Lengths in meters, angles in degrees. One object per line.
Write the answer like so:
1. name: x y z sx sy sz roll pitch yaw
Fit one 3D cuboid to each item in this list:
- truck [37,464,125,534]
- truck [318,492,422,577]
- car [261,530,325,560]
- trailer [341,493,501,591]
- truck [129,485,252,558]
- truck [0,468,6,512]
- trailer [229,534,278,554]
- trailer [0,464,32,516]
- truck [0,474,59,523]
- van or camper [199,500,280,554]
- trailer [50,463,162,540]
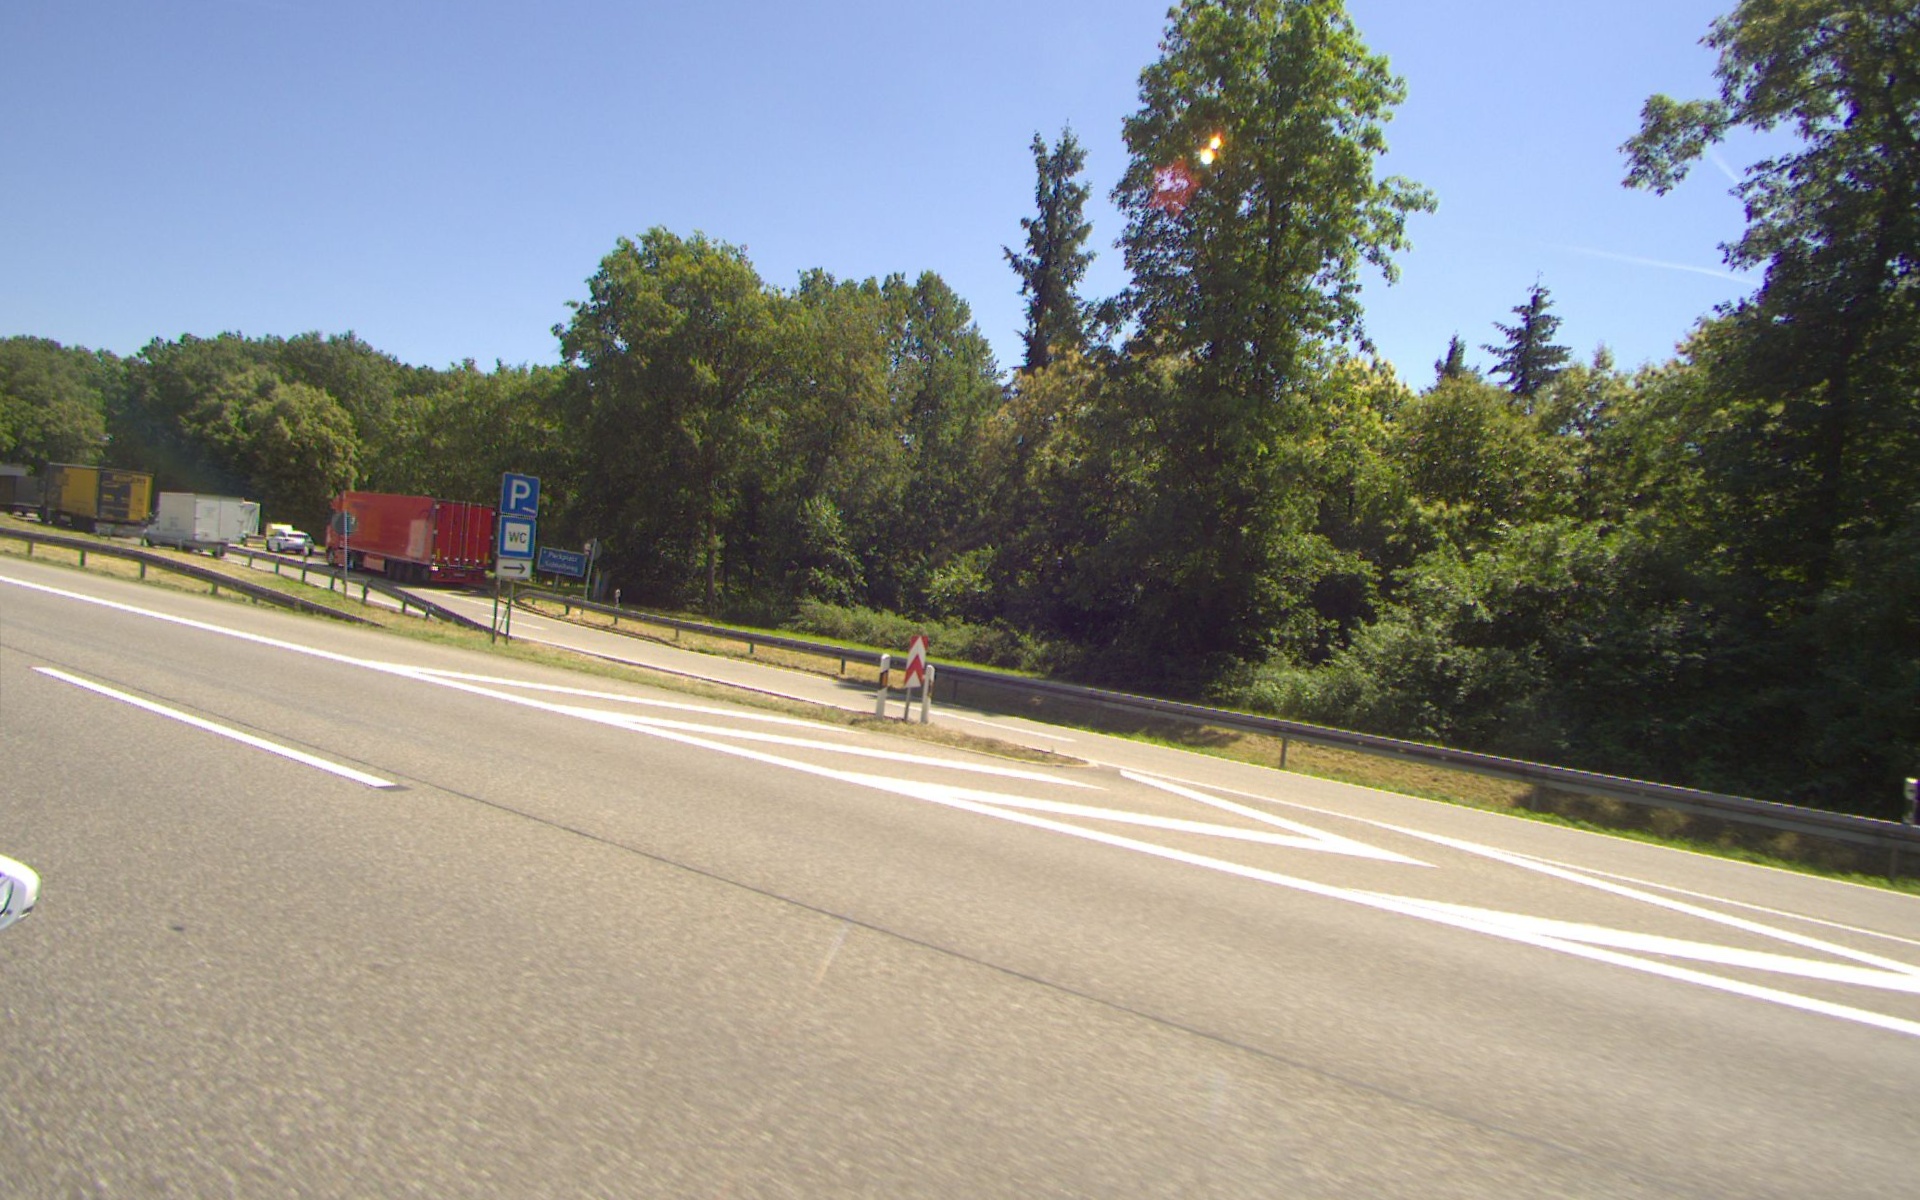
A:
1. truck: -58.421 -6.725 66.794 6.522 3.982 3.182 6 -1 40
2. truck: -31.959 -3.587 54.378 6.332 3.929 2.972 7 0 44
3. car: -42.095 -3.483 63.454 4.963 1.469 1.991 6 -1 41
4. trailer: -26.542 -3.005 49.015 12.721 3.926 2.972 6 0 45
5. truck: -39.260 -4.026 51.247 7.536 2.981 2.471 6 -1 34
6. truck: -87.040 -10.020 88.819 5.237 3.834 3.089 6 -1 38
7. trailer: -47.563 -3.774 67.705 3.943 0.970 1.773 6 -1 41
8. trailer: -81.769 -9.449 84.643 13.163 3.834 3.103 6 -2 38
9. truck: -71.613 -7.809 77.042 6.516 3.122 2.469 6 -1 37
10. van or camper: -52.869 -5.401 73.752 6.899 3.274 2.996 6 0 40
11. trailer: -52.914 -6.130 62.149 11.385 3.982 3.181 6 -1 40
